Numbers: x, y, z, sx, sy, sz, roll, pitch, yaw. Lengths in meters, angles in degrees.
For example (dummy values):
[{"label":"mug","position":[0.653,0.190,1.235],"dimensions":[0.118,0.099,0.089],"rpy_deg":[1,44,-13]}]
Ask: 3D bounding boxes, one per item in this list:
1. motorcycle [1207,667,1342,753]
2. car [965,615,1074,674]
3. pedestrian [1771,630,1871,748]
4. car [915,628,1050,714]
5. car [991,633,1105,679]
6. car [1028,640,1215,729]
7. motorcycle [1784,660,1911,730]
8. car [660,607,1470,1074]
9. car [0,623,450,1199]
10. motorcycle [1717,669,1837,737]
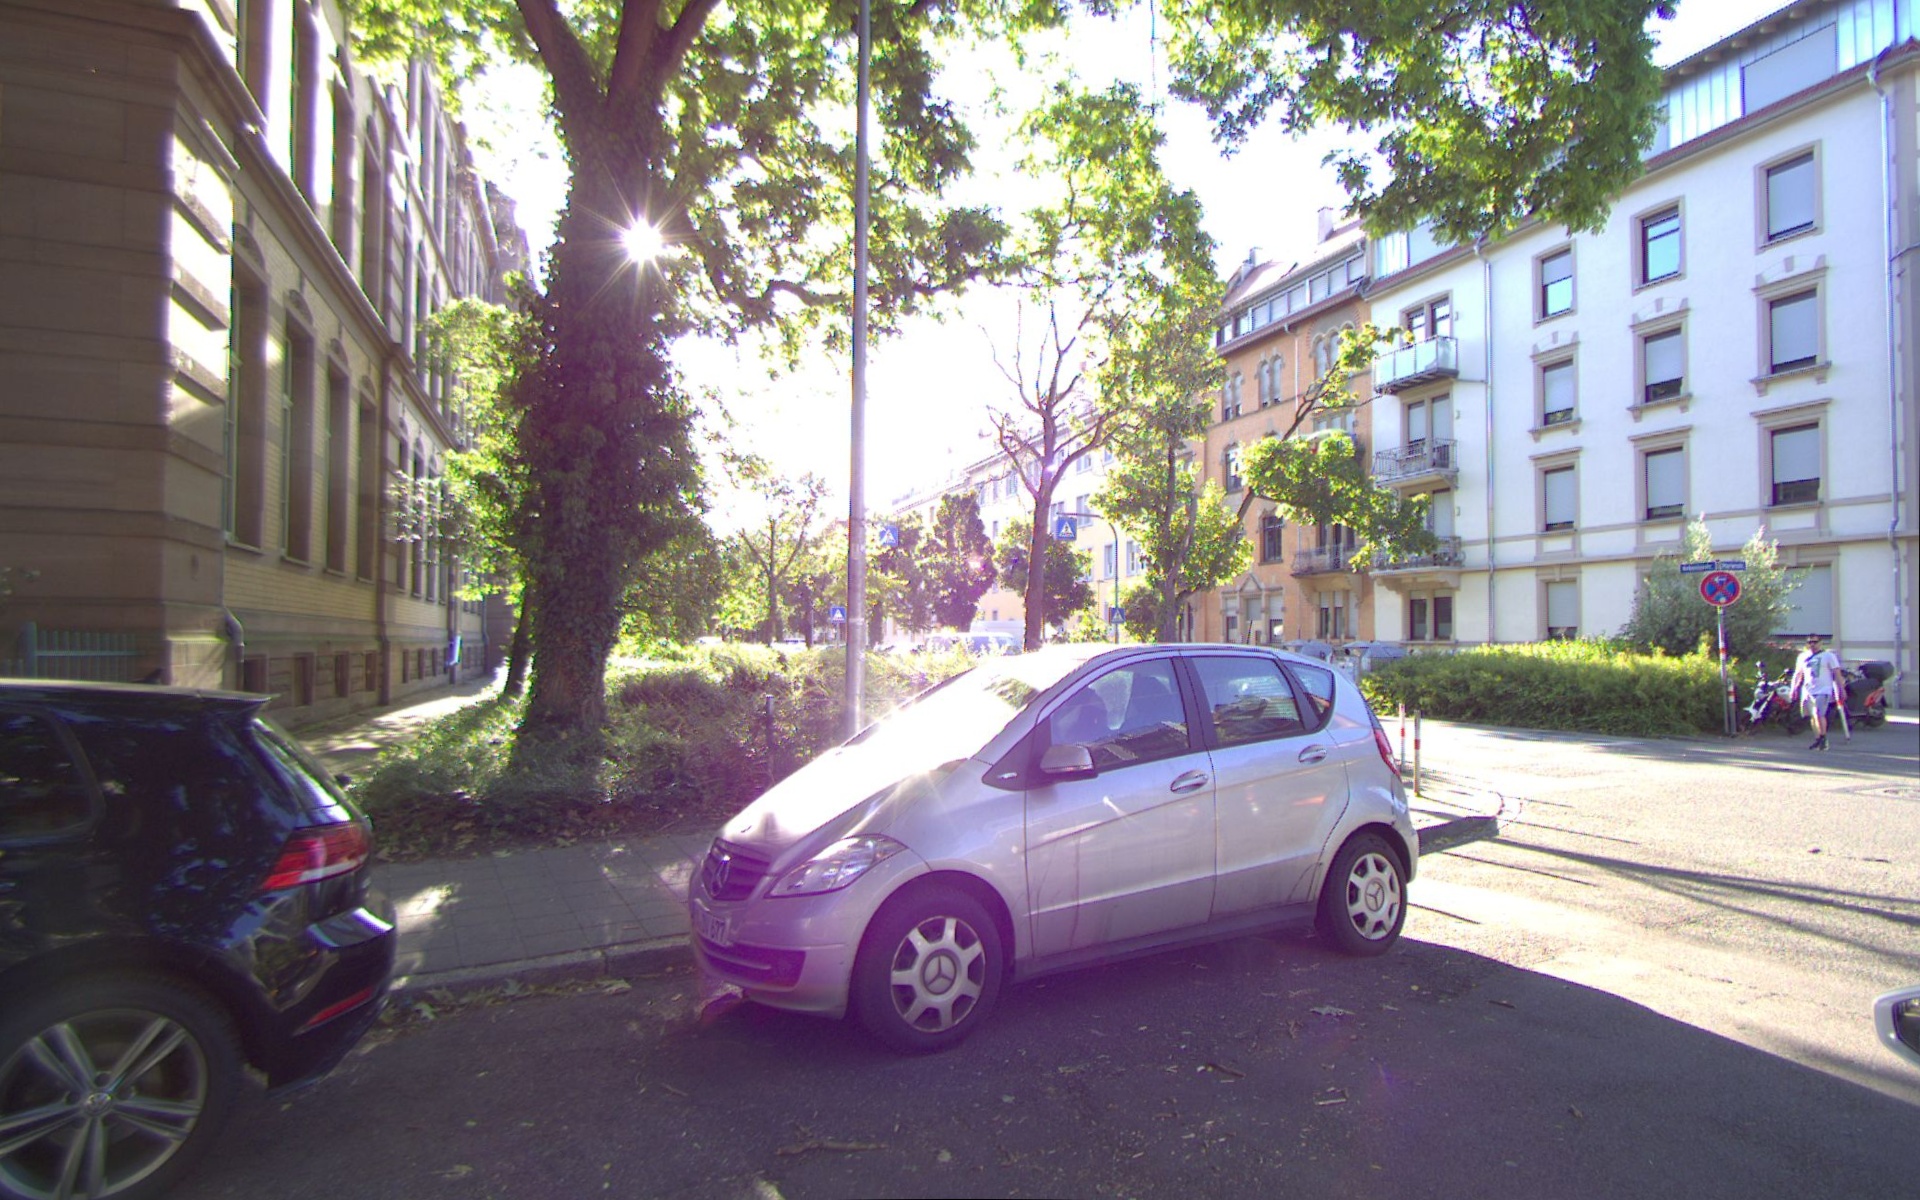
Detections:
[{"label":"motorcycle","position":[4.369,1.502,13.930],"dimensions":[1.867,1.116,0.542],"rpy_deg":[1,-3,-21]},{"label":"car","position":[2.880,2.159,48.522],"dimensions":[4.839,2.740,2.125],"rpy_deg":[1,-3,-23]},{"label":"pedestrian","position":[13.411,1.358,15.649],"dimensions":[0.992,1.768,0.801],"rpy_deg":[1,-3,-24]},{"label":"car","position":[0.477,1.856,27.105],"dimensions":[1.971,2.040,4.627],"rpy_deg":[-1,-2,-22]},{"label":"car","position":[3.999,2.552,45.912],"dimensions":[4.835,2.040,1.992],"rpy_deg":[1,-3,-20]},{"label":"car","position":[3.110,1.616,20.203],"dimensions":[1.858,1.595,4.124],"rpy_deg":[1,-3,-22]},{"label":"motorcycle","position":[16.026,1.708,18.143],"dimensions":[2.008,1.212,0.612],"rpy_deg":[2,-3,-11]},{"label":"car","position":[0.638,0.959,5.193],"dimensions":[3.907,1.578,1.698],"rpy_deg":[2,-6,-31]},{"label":"car","position":[-3.654,0.823,2.570],"dimensions":[3.963,1.482,1.571],"rpy_deg":[4,-7,-37]},{"label":"motorcycle","position":[13.992,1.761,17.216],"dimensions":[1.839,1.104,0.639],"rpy_deg":[2,-3,-15]}]
